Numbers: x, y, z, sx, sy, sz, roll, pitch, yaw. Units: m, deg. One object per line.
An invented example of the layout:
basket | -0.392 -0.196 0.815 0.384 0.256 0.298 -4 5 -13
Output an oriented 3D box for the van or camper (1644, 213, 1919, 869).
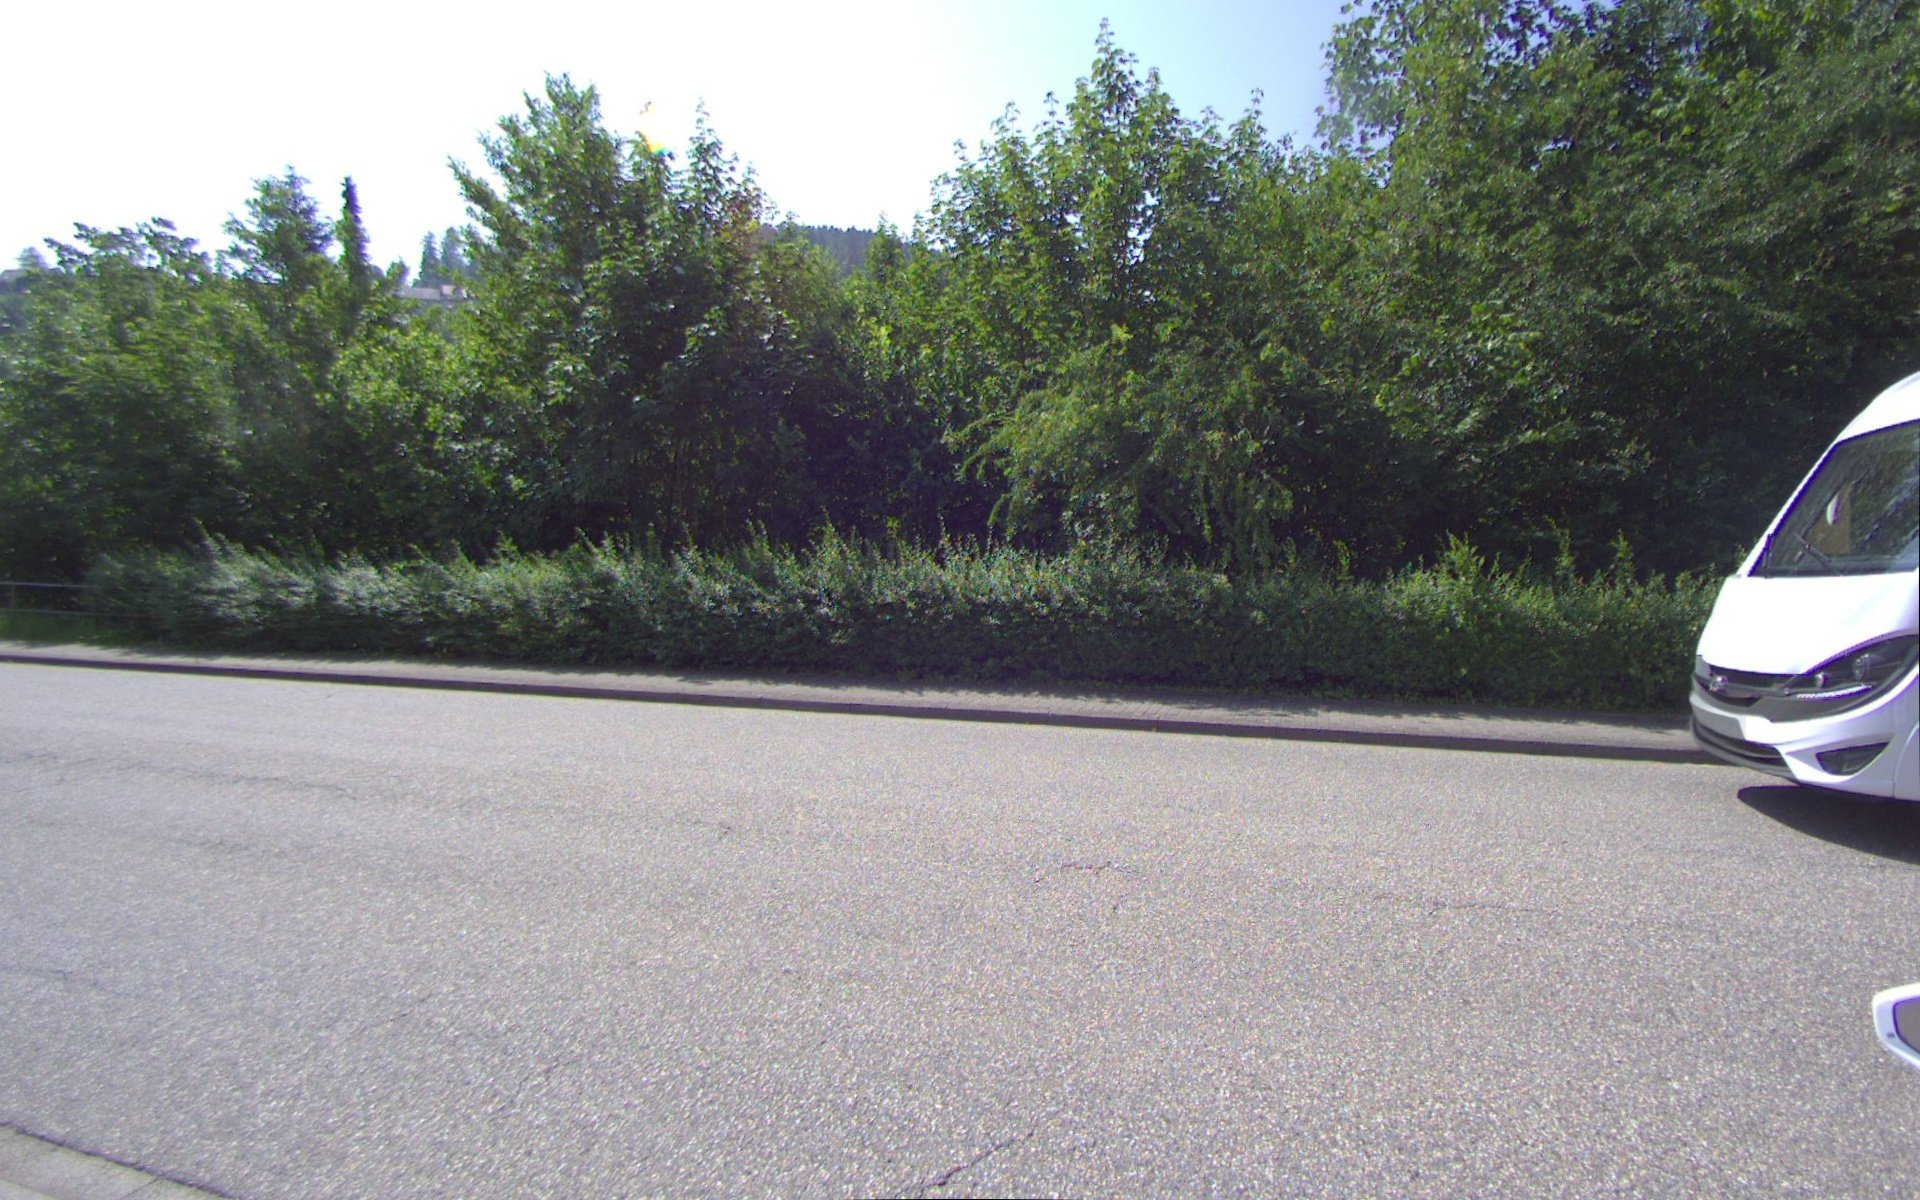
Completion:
van or camper | 8.104 -0.250 4.516 7.892 2.993 2.365 1 2 20
